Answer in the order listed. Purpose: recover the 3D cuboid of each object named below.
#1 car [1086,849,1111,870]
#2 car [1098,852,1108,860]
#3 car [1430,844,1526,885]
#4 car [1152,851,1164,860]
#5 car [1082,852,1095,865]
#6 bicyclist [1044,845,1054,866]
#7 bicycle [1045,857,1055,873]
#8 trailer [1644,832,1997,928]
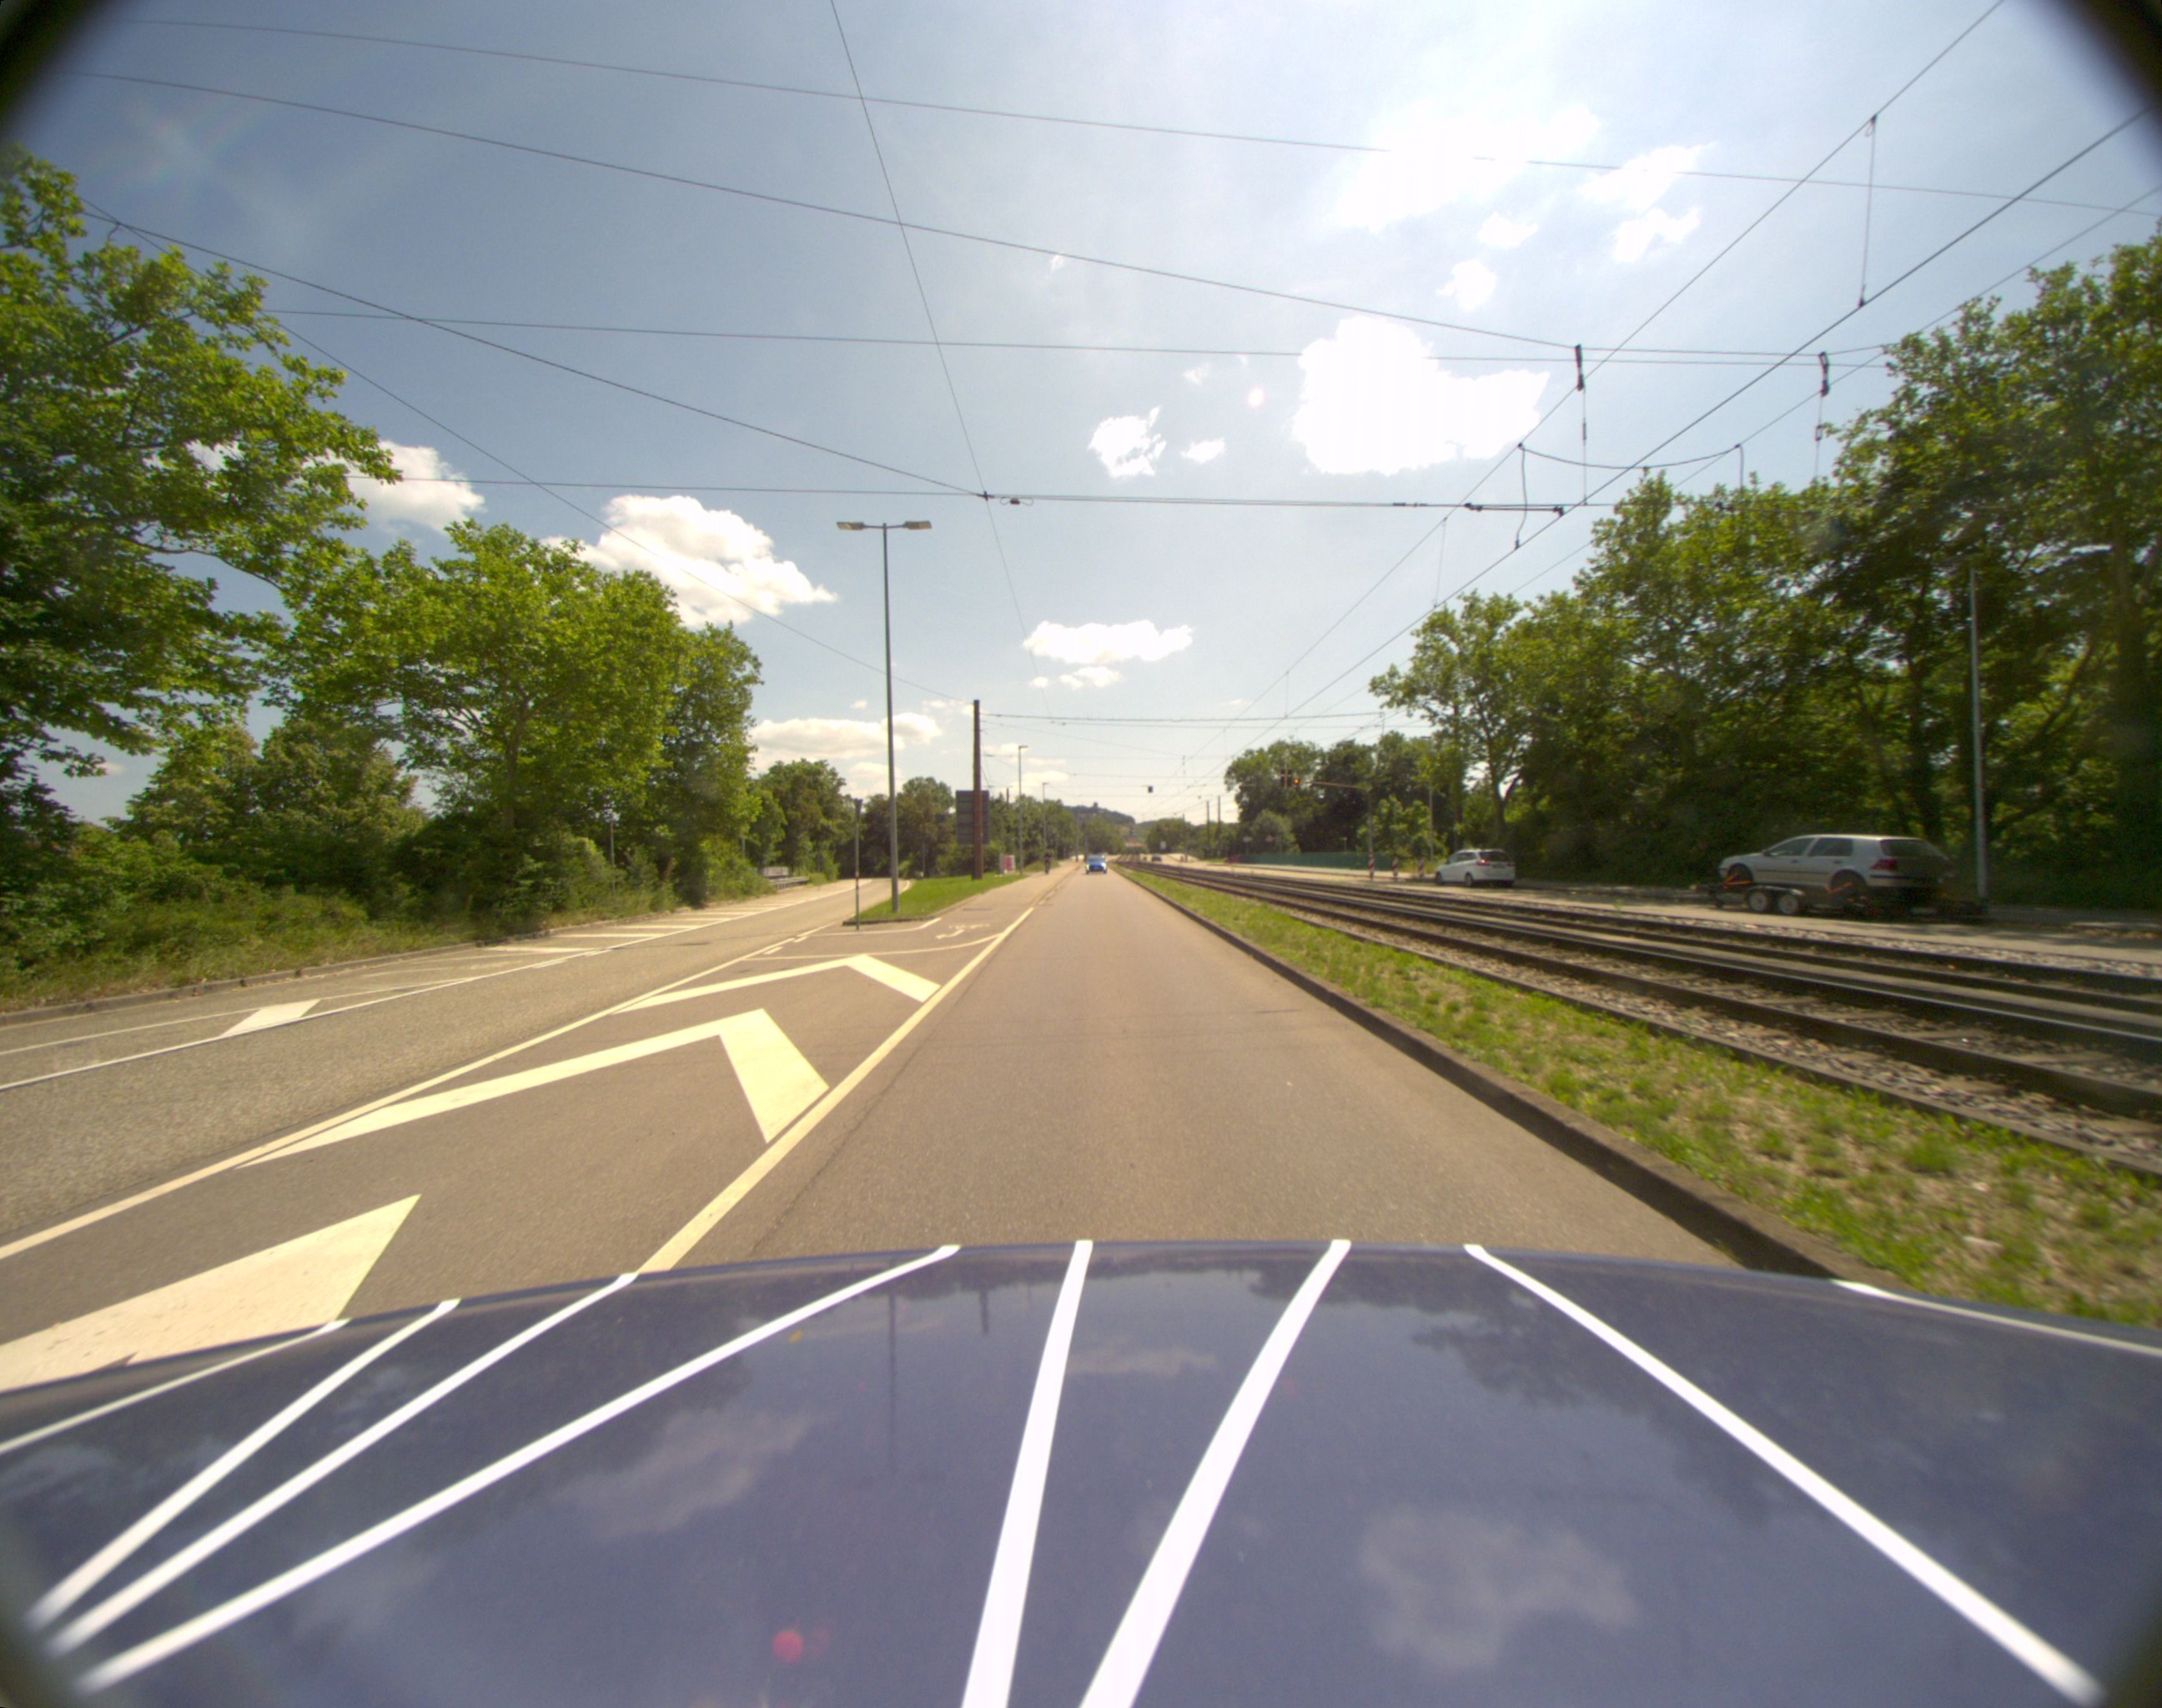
[{"bbox_3d":[1.412,0.495,62.419,1.865,1.630,4.000,-2,-1,-1],"label":"car"},{"bbox_3d":[4.759,0.447,164.608,1.731,1.695,3.999,-2,-1,-4],"label":"car"},{"bbox_3d":[17.342,0.471,33.456,1.724,1.621,4.617,-2,-1,0],"label":"car"},{"bbox_3d":[15.110,0.272,149.528,1.880,1.710,5.330,-1,0,0],"label":"car"},{"bbox_3d":[1.060,0.642,103.223,1.683,1.737,3.686,-2,-1,2],"label":"car"},{"bbox_3d":[-2.275,0.133,54.707,0.586,1.486,0.558,-2,-1,6],"label":"bicyclist"},{"bbox_3d":[-2.234,0.811,54.749,0.433,1.145,1.856,-2,-1,6],"label":"bicycle"},{"bbox_3d":[17.138,0.512,18.292,2.468,1.878,5.960,-2,0,-4],"label":"trailer"}]
